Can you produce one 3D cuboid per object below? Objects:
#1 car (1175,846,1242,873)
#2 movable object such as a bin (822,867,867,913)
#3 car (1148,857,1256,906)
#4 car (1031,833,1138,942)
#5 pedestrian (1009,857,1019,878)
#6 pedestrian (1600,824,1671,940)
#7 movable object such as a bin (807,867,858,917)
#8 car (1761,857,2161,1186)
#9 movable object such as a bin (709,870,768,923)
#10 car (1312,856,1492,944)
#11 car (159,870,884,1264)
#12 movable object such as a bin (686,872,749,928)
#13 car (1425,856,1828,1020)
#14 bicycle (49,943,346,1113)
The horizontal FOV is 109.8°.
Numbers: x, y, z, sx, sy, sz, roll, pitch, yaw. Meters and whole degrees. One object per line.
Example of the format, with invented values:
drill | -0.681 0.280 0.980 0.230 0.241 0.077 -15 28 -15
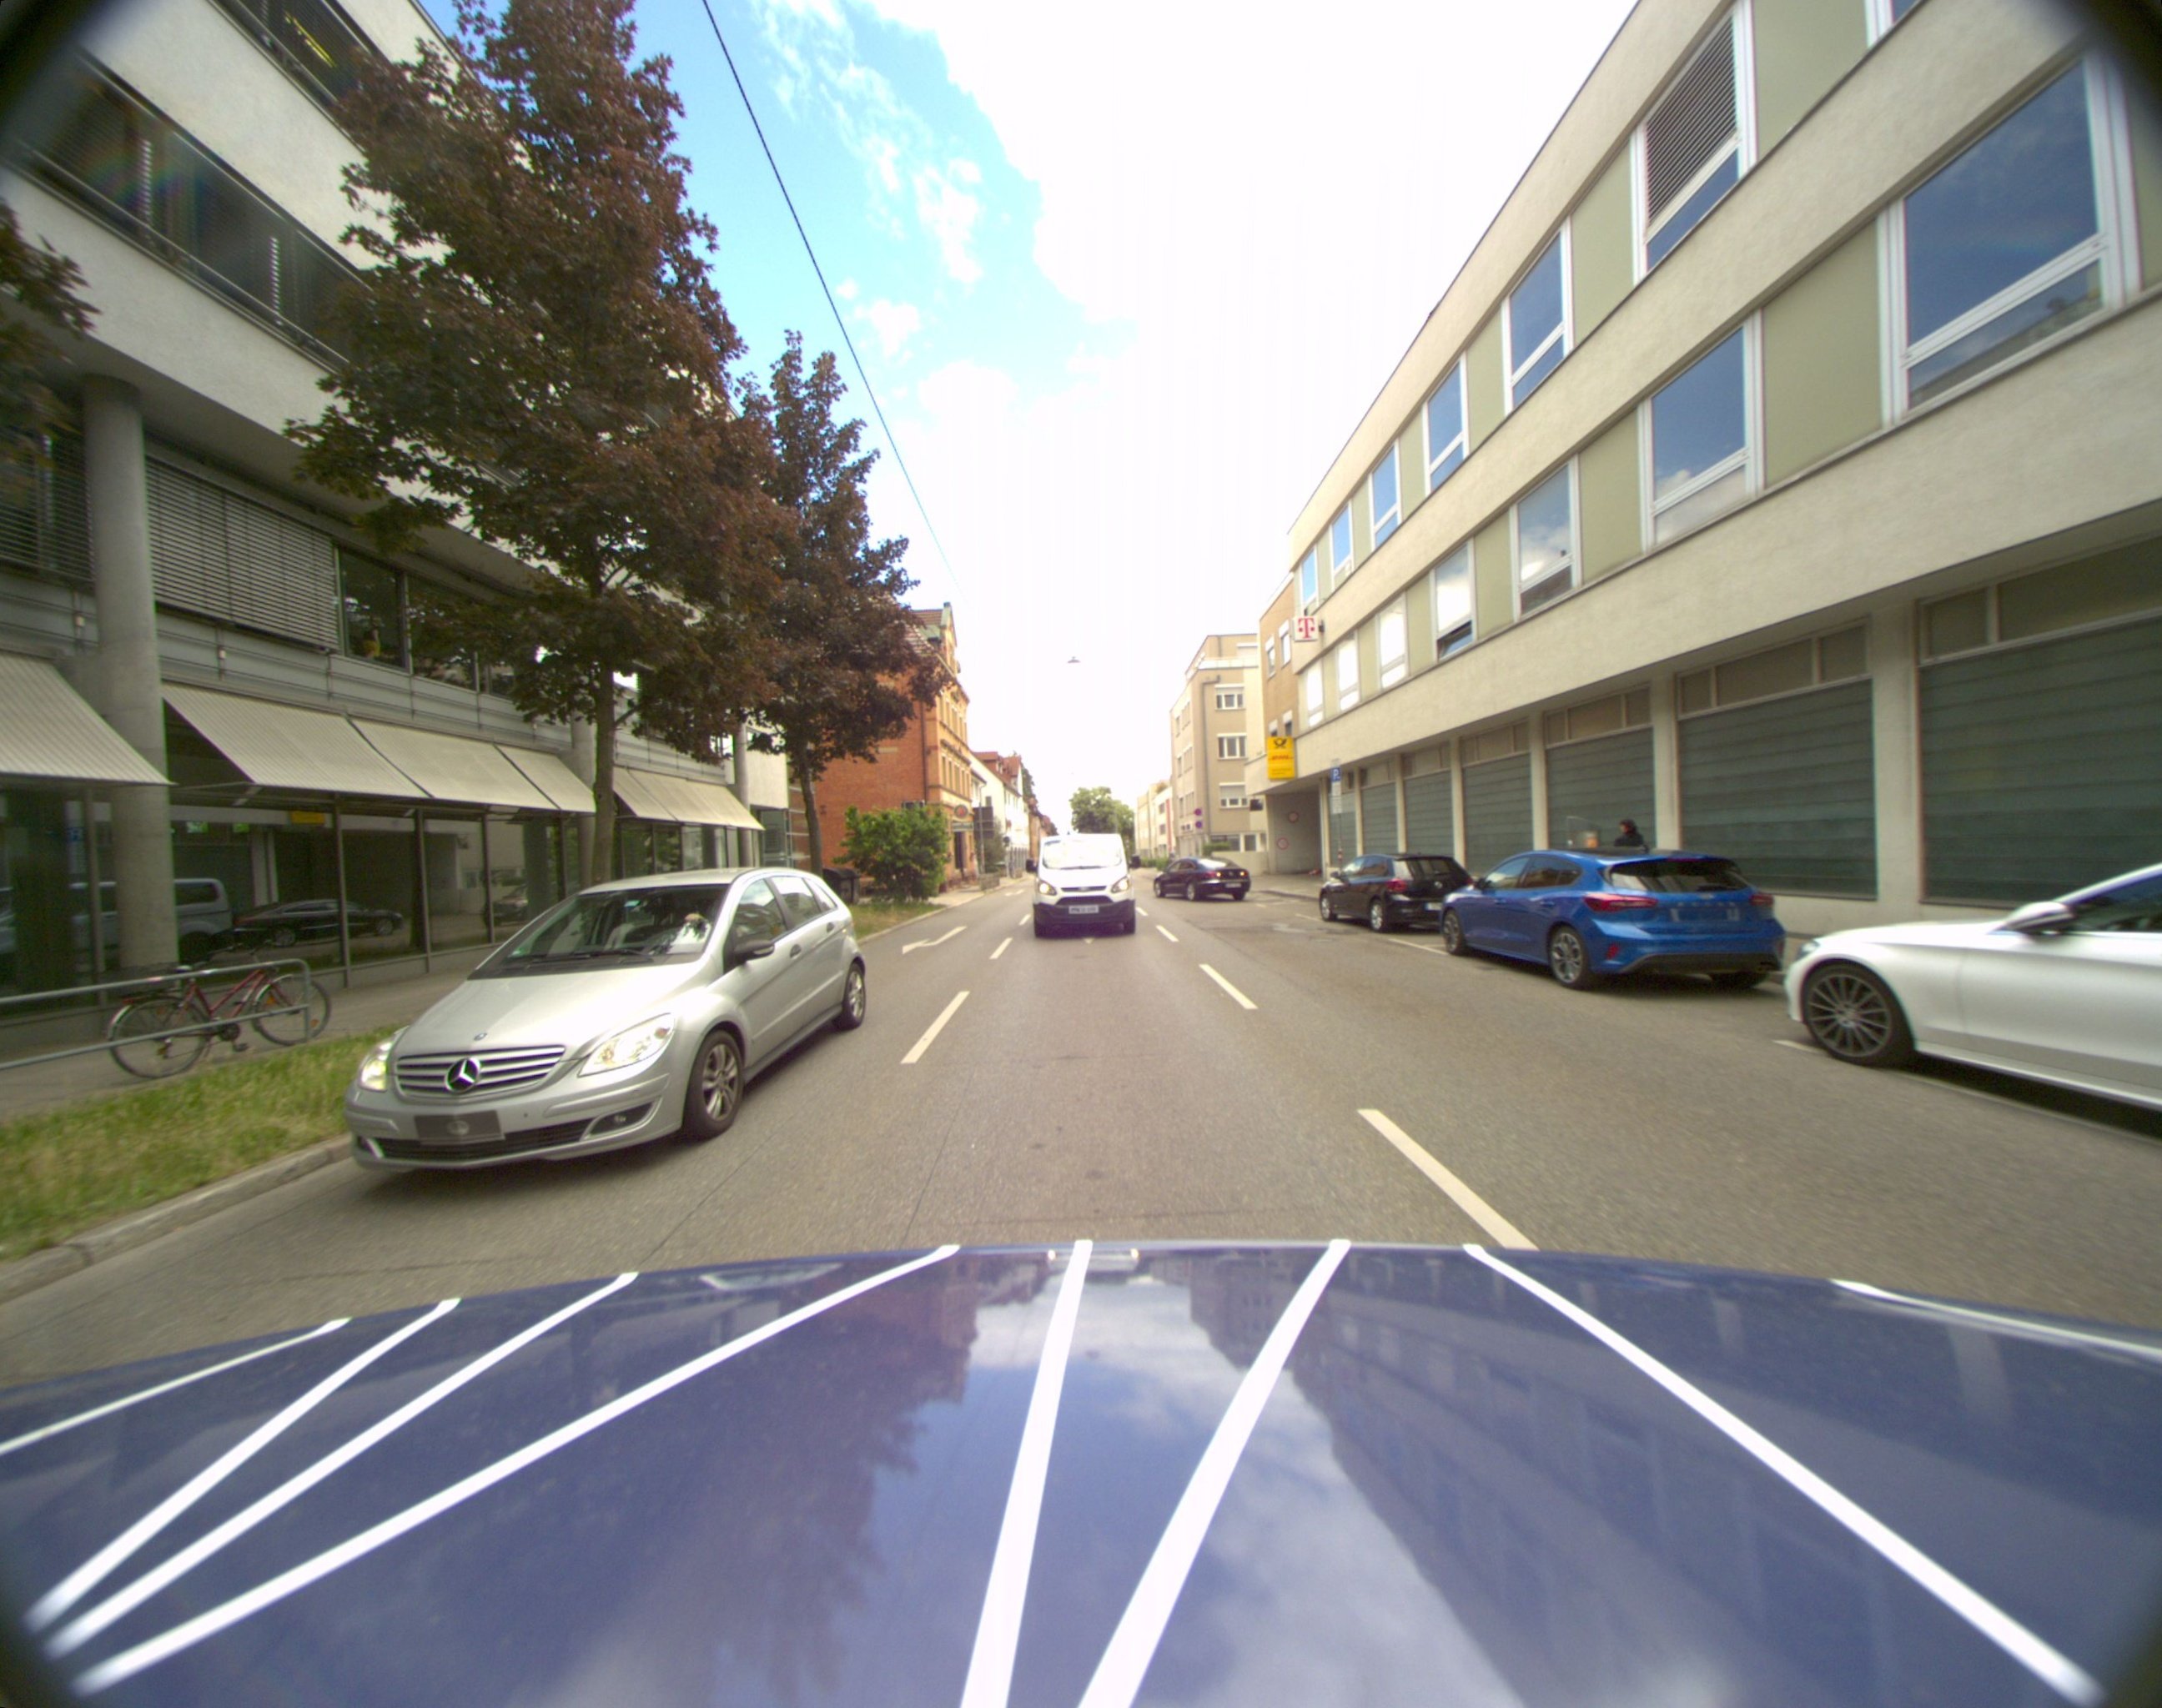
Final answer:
car | 10.272 0.449 61.519 5.083 1.986 1.966 -2 0 2
movable object such as a bin | -7.854 1.171 25.300 1.101 1.457 1.332 -1 1 -2
car | 3.857 0.834 25.084 1.658 1.390 4.447 -3 1 -18
car | -0.017 0.636 17.053 1.965 1.986 5.086 -2 0 -2
pedestrian | -5.564 1.146 63.127 0.690 1.721 0.649 -2 1 -2
pedestrian | 8.486 0.414 11.636 0.592 1.708 0.648 -3 1 -27
movable object such as a bin | -7.795 1.176 23.929 1.130 1.457 1.412 -1 1 -2
car | 5.615 0.748 3.125 1.674 1.425 4.553 -1 0 2
movable object such as a bin | -10.053 1.234 22.337 1.125 1.457 1.332 -1 1 -2
car | 5.961 0.776 14.625 1.721 1.417 3.869 -1 0 -2
car | -3.160 1.033 5.780 1.998 1.537 4.570 -5 0 0
movable object such as a bin | -10.009 1.244 20.977 1.101 1.457 1.332 -1 1 -2
car | 5.819 0.764 8.910 1.819 1.417 4.265 -1 0 3
bicycle | -8.001 1.503 7.055 0.362 1.080 2.027 -4 0 -2
